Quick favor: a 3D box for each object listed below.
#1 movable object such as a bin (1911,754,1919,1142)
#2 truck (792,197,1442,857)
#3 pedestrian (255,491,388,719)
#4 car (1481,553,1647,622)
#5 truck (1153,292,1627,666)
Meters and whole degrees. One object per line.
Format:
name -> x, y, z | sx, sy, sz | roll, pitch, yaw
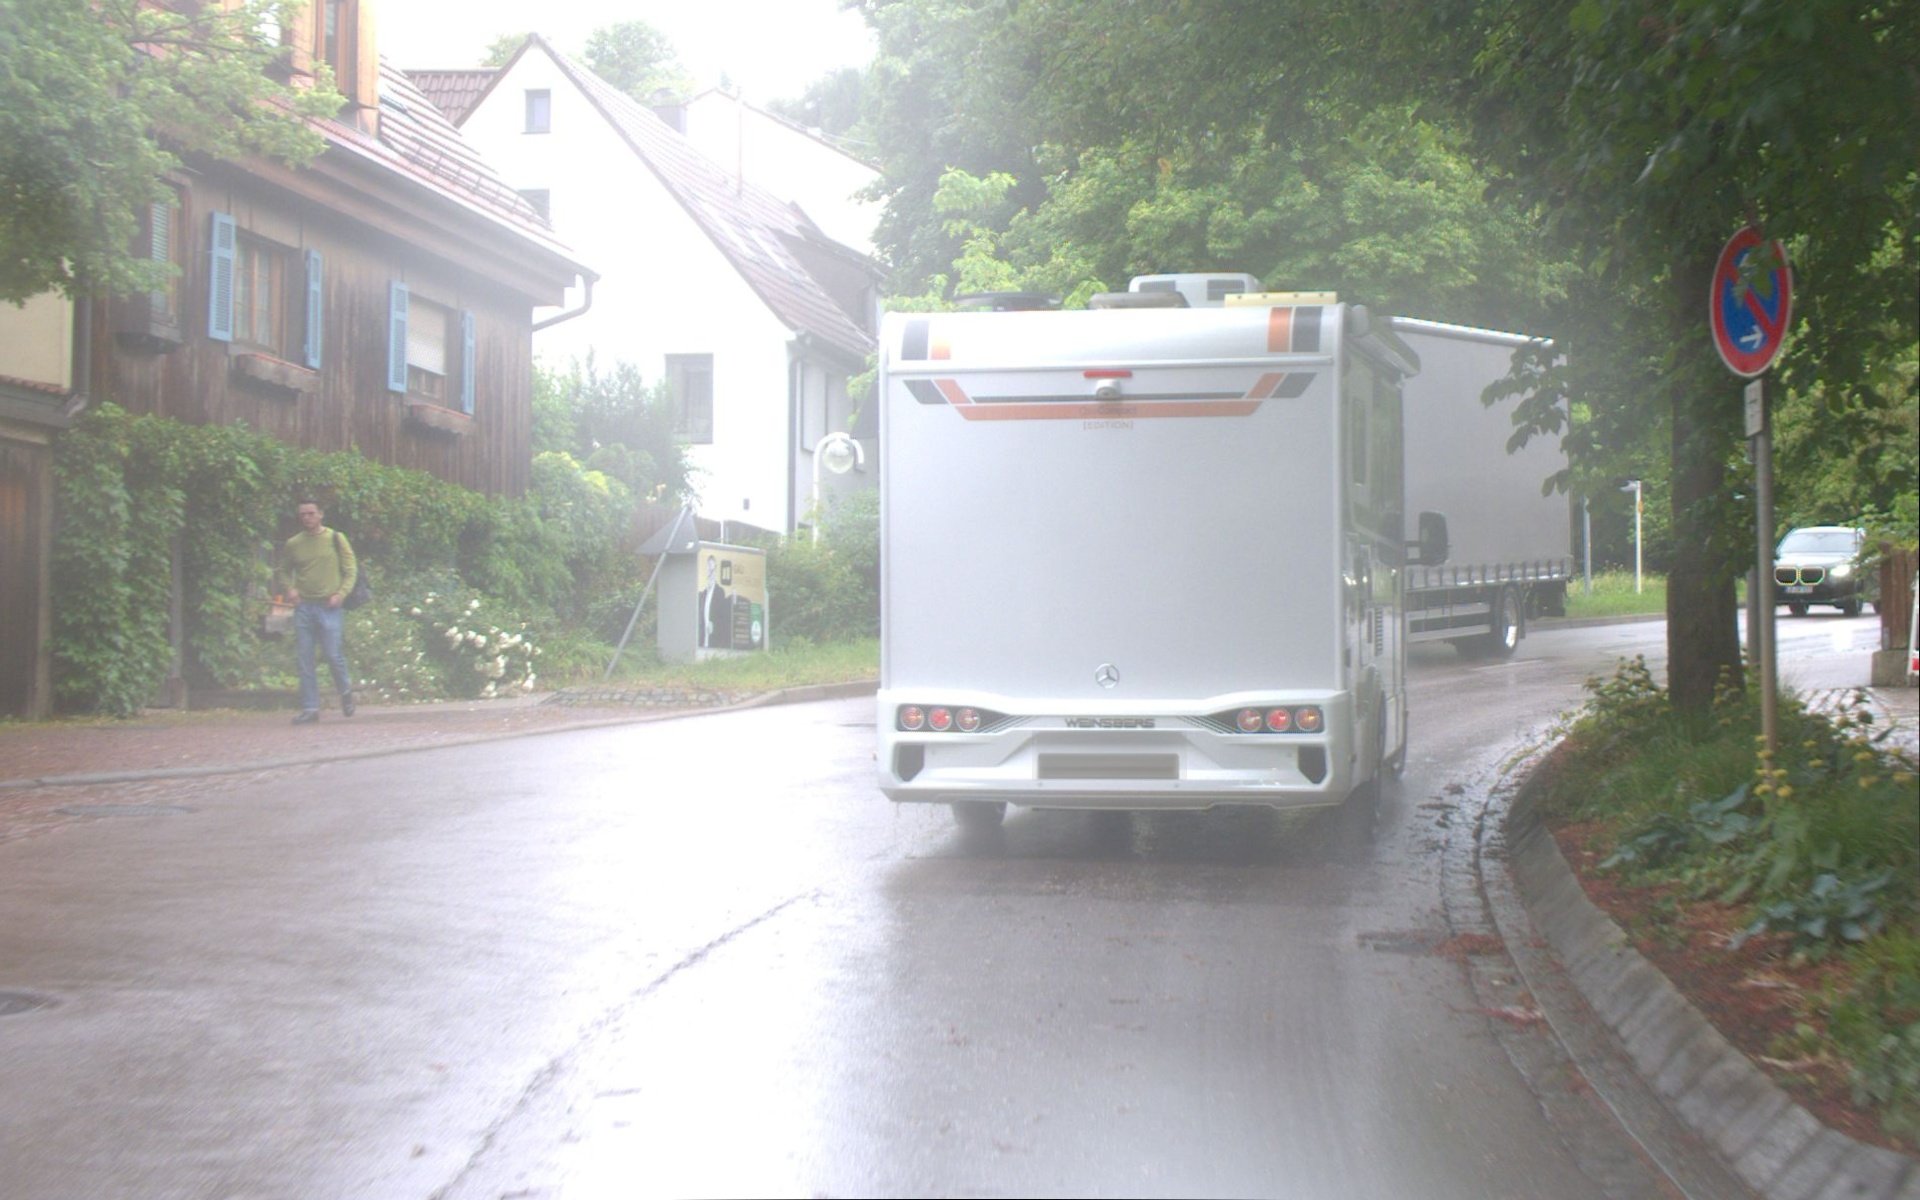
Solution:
movable object such as a bin -> 2.318, 0.856, 6.468 | 0.769, 1.103, 0.884 | -1, 0, -2
truck -> 1.123, -0.427, 18.815 | 2.696, 2.975, 6.234 | 1, 2, 11
pedestrian -> -5.320, 0.038, 28.667 | 0.794, 1.861, 0.916 | 1, 0, 11
car -> 15.871, -0.315, 90.458 | 3.987, 1.756, 2.000 | 1, 0, -1
truck -> 5.684, -1.409, 43.333 | 2.842, 4.152, 9.963 | 1, 1, 26
